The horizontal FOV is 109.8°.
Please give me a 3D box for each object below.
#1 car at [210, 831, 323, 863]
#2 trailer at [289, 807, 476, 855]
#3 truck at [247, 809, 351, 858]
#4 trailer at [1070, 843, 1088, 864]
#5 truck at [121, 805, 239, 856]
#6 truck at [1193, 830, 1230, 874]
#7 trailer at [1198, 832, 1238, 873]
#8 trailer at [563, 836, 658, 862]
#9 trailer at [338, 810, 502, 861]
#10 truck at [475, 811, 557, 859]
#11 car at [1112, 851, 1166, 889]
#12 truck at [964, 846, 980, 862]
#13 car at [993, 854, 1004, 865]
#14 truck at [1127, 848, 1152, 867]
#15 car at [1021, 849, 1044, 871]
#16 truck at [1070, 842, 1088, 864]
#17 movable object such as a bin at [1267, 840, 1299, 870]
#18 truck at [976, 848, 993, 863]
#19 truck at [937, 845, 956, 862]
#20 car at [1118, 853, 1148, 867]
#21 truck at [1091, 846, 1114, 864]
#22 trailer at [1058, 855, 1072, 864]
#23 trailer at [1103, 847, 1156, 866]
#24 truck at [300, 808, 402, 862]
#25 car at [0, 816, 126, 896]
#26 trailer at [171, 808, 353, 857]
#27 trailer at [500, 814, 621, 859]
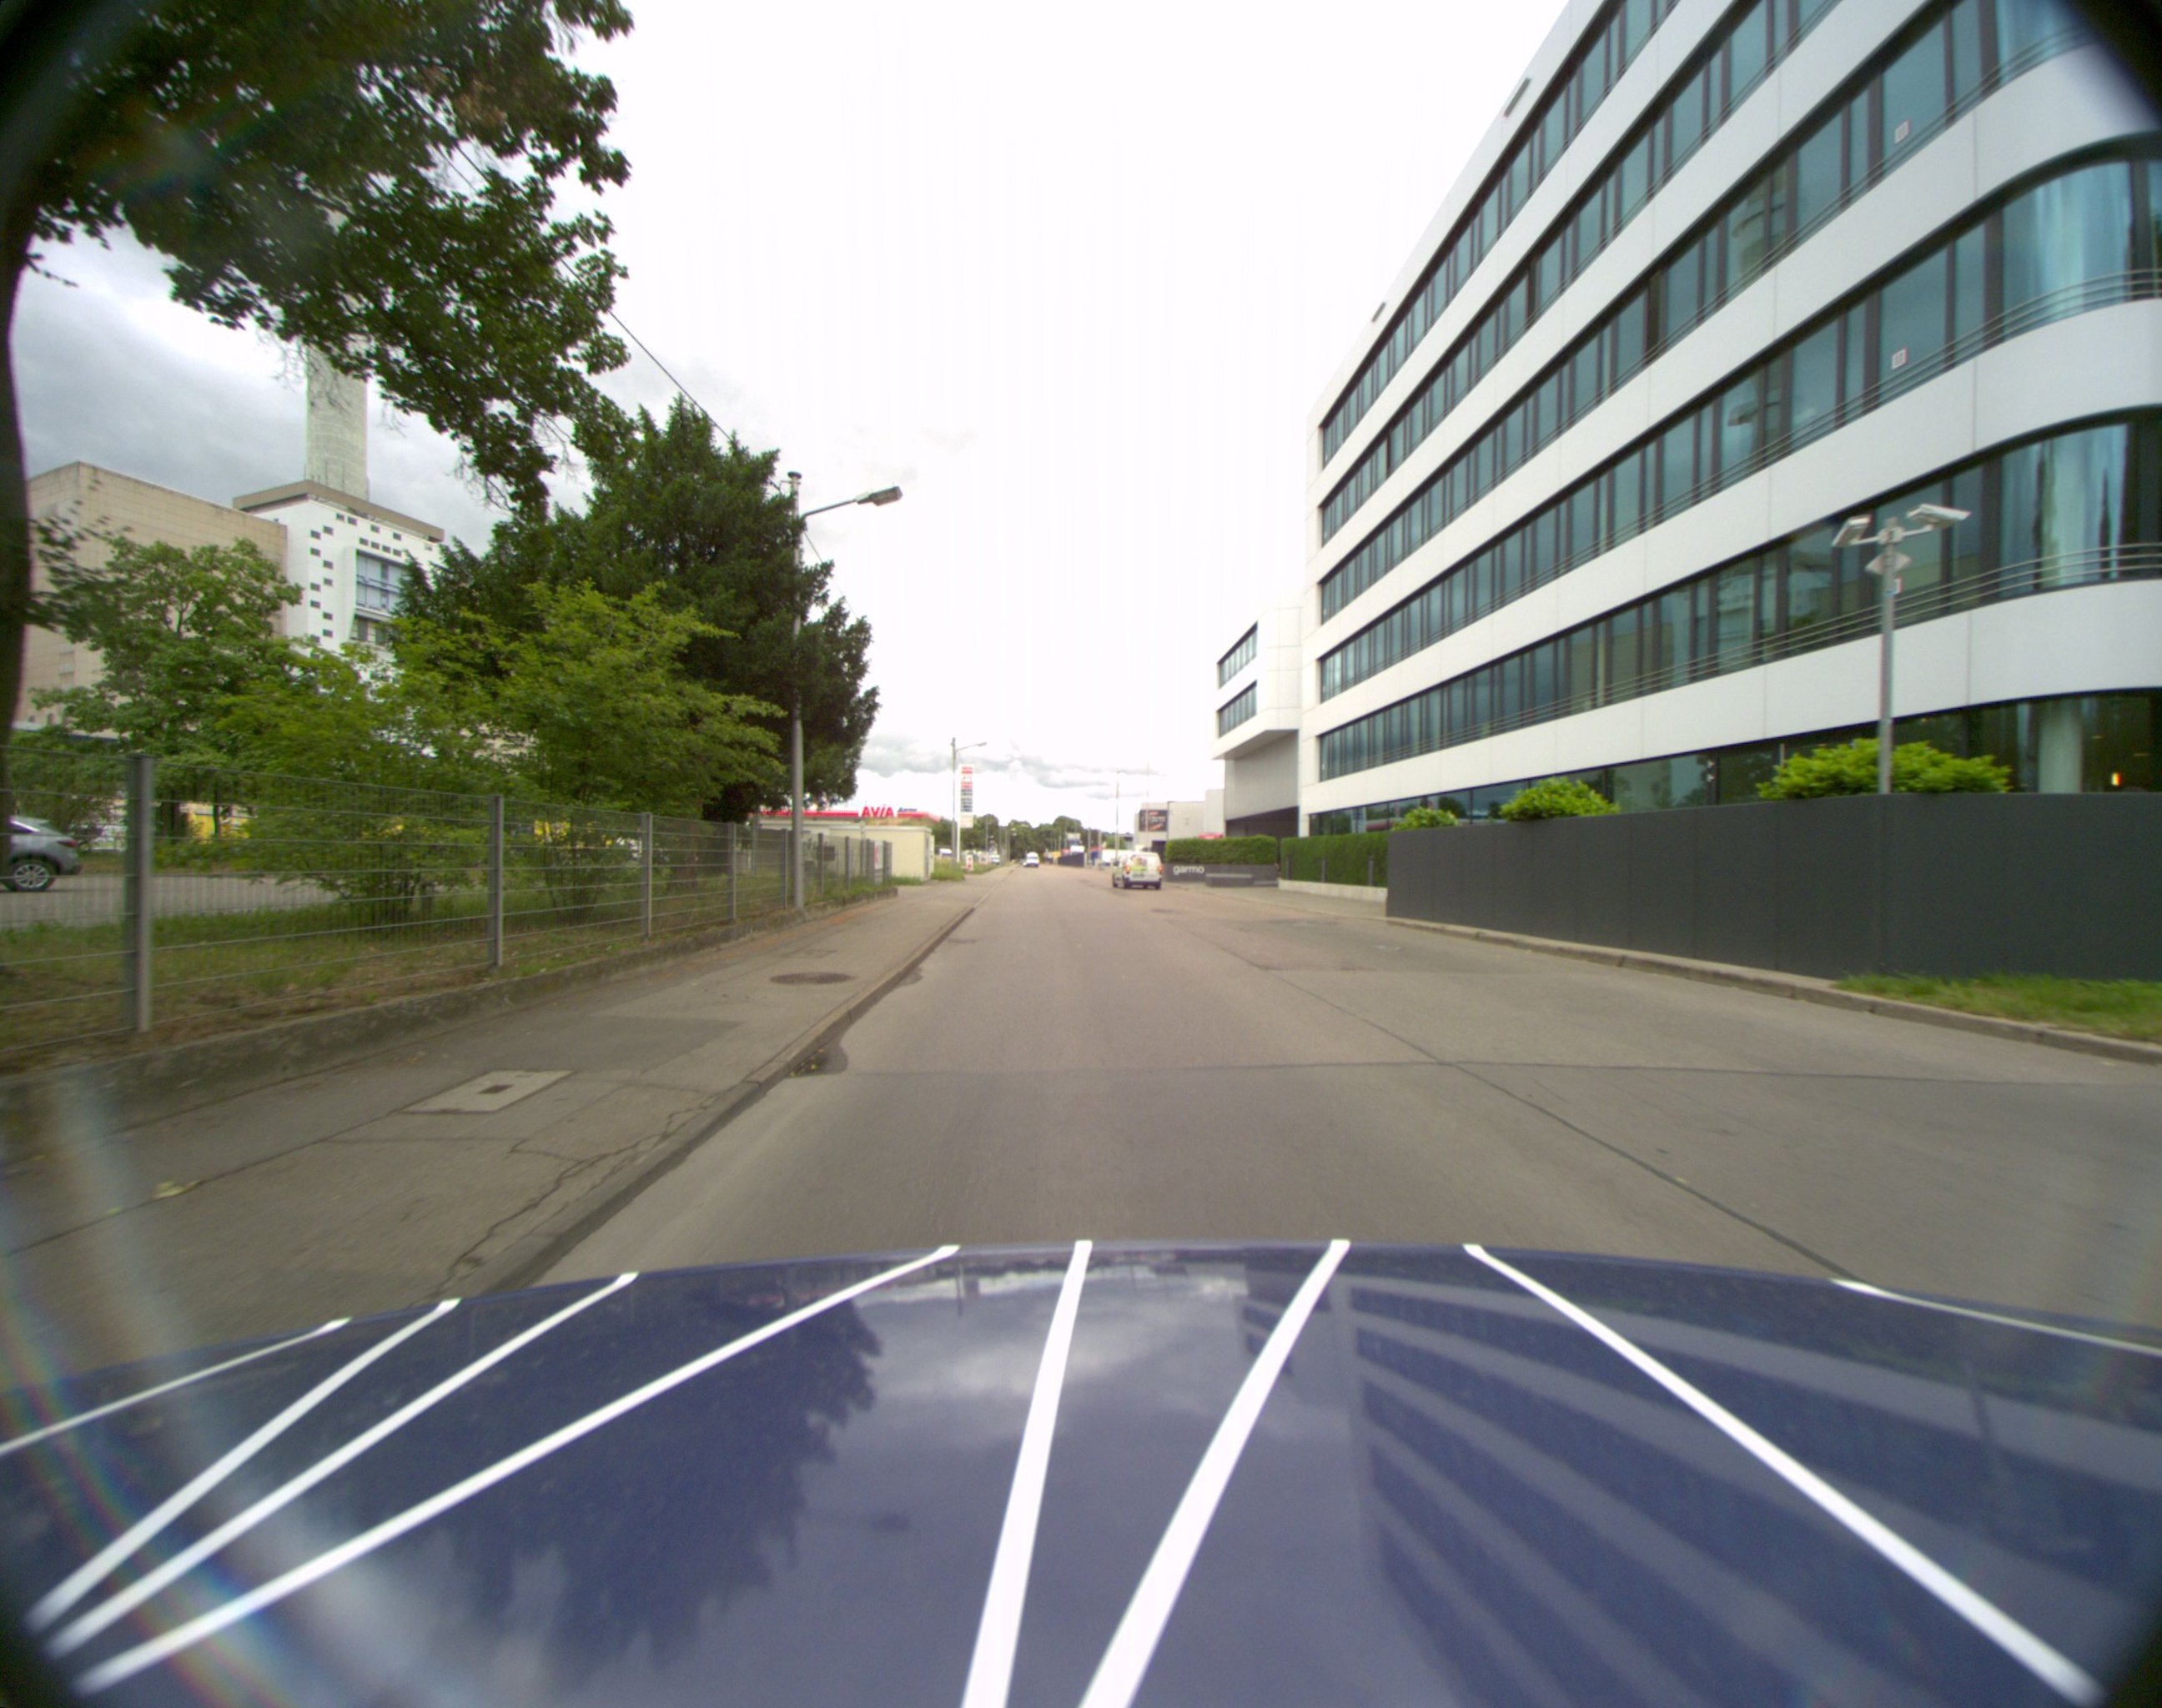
[{"bbox_3d":[-41.856,-0.348,39.174,1.737,1.521,3.883,1,0,-3],"label":"car"},{"bbox_3d":[-65.941,-1.891,72.927,2.698,3.892,18.064,1,0,-5],"label":"trailer"},{"bbox_3d":[-65.104,-1.610,63.493,2.698,3.892,6.038,1,0,-5],"label":"truck"},{"bbox_3d":[-0.422,-0.040,156.843,3.368,4.135,13.848,3,0,0],"label":"trailer"},{"bbox_3d":[-72.987,-1.805,61.751,2.698,3.892,6.038,1,0,-5],"label":"truck"},{"bbox_3d":[12.740,-0.117,73.789,2.745,4.007,7.102,0,-1,17],"label":"truck"},{"bbox_3d":[14.490,-0.056,79.615,2.745,4.007,12.635,0,-1,17],"label":"trailer"},{"bbox_3d":[-78.840,-0.915,127.171,18.454,4.148,3.649,1,0,23],"label":"trailer"},{"bbox_3d":[-61.993,-1.501,72.248,3.029,4.235,15.718,1,0,-5],"label":"trailer"},{"bbox_3d":[-49.145,-1.547,66.357,2.965,3.892,6.038,1,0,-5],"label":"truck"},{"bbox_3d":[2.767,0.755,37.230,1.813,1.754,4.202,-1,0,-8],"label":"car"},{"bbox_3d":[-28.144,0.106,196.438,2.877,3.989,6.746,2,-1,-19],"label":"truck"},{"bbox_3d":[-18.561,1.234,170.802,2.092,2.401,6.082,1,0,-2],"label":"car"},{"bbox_3d":[13.393,0.760,173.788,4.871,4.180,3.053,2,0,18],"label":"truck"},{"bbox_3d":[-8.521,1.027,132.534,3.341,3.586,8.665,1,-1,-7],"label":"car"},{"bbox_3d":[-0.380,-0.105,148.826,3.368,4.135,5.627,3,0,0],"label":"truck"},{"bbox_3d":[15.251,0.079,57.384,2.149,2.209,1.755,1,0,19],"label":"movable object such as a bin"},{"bbox_3d":[-25.497,0.381,200.833,2.877,3.608,6.746,2,-1,-19],"label":"truck"},{"bbox_3d":[-33.105,-0.186,186.812,2.878,4.070,6.743,2,-1,-24],"label":"truck"},{"bbox_3d":[10.128,1.215,146.842,5.424,2.714,2.244,-1,-1,15],"label":"car"},{"bbox_3d":[5.074,0.319,180.469,4.880,4.108,3.047,3,0,-3],"label":"truck"},{"bbox_3d":[-4.011,1.374,190.039,3.047,2.179,12.044,3,0,-4],"label":"trailer"},{"bbox_3d":[11.503,0.586,179.553,12.023,4.108,3.052,2,0,14],"label":"trailer"},{"bbox_3d":[-61.296,-1.518,64.018,3.053,4.237,6.038,1,0,-5],"label":"truck"},{"bbox_3d":[-22.863,0.009,15.054,1.996,1.602,4.447,2,-1,12],"label":"car"},{"bbox_3d":[-73.625,-1.756,69.059,2.698,3.892,13.683,1,0,-5],"label":"trailer"},{"bbox_3d":[-49.784,-1.516,73.549,3.008,3.892,14.295,1,0,-5],"label":"trailer"}]
